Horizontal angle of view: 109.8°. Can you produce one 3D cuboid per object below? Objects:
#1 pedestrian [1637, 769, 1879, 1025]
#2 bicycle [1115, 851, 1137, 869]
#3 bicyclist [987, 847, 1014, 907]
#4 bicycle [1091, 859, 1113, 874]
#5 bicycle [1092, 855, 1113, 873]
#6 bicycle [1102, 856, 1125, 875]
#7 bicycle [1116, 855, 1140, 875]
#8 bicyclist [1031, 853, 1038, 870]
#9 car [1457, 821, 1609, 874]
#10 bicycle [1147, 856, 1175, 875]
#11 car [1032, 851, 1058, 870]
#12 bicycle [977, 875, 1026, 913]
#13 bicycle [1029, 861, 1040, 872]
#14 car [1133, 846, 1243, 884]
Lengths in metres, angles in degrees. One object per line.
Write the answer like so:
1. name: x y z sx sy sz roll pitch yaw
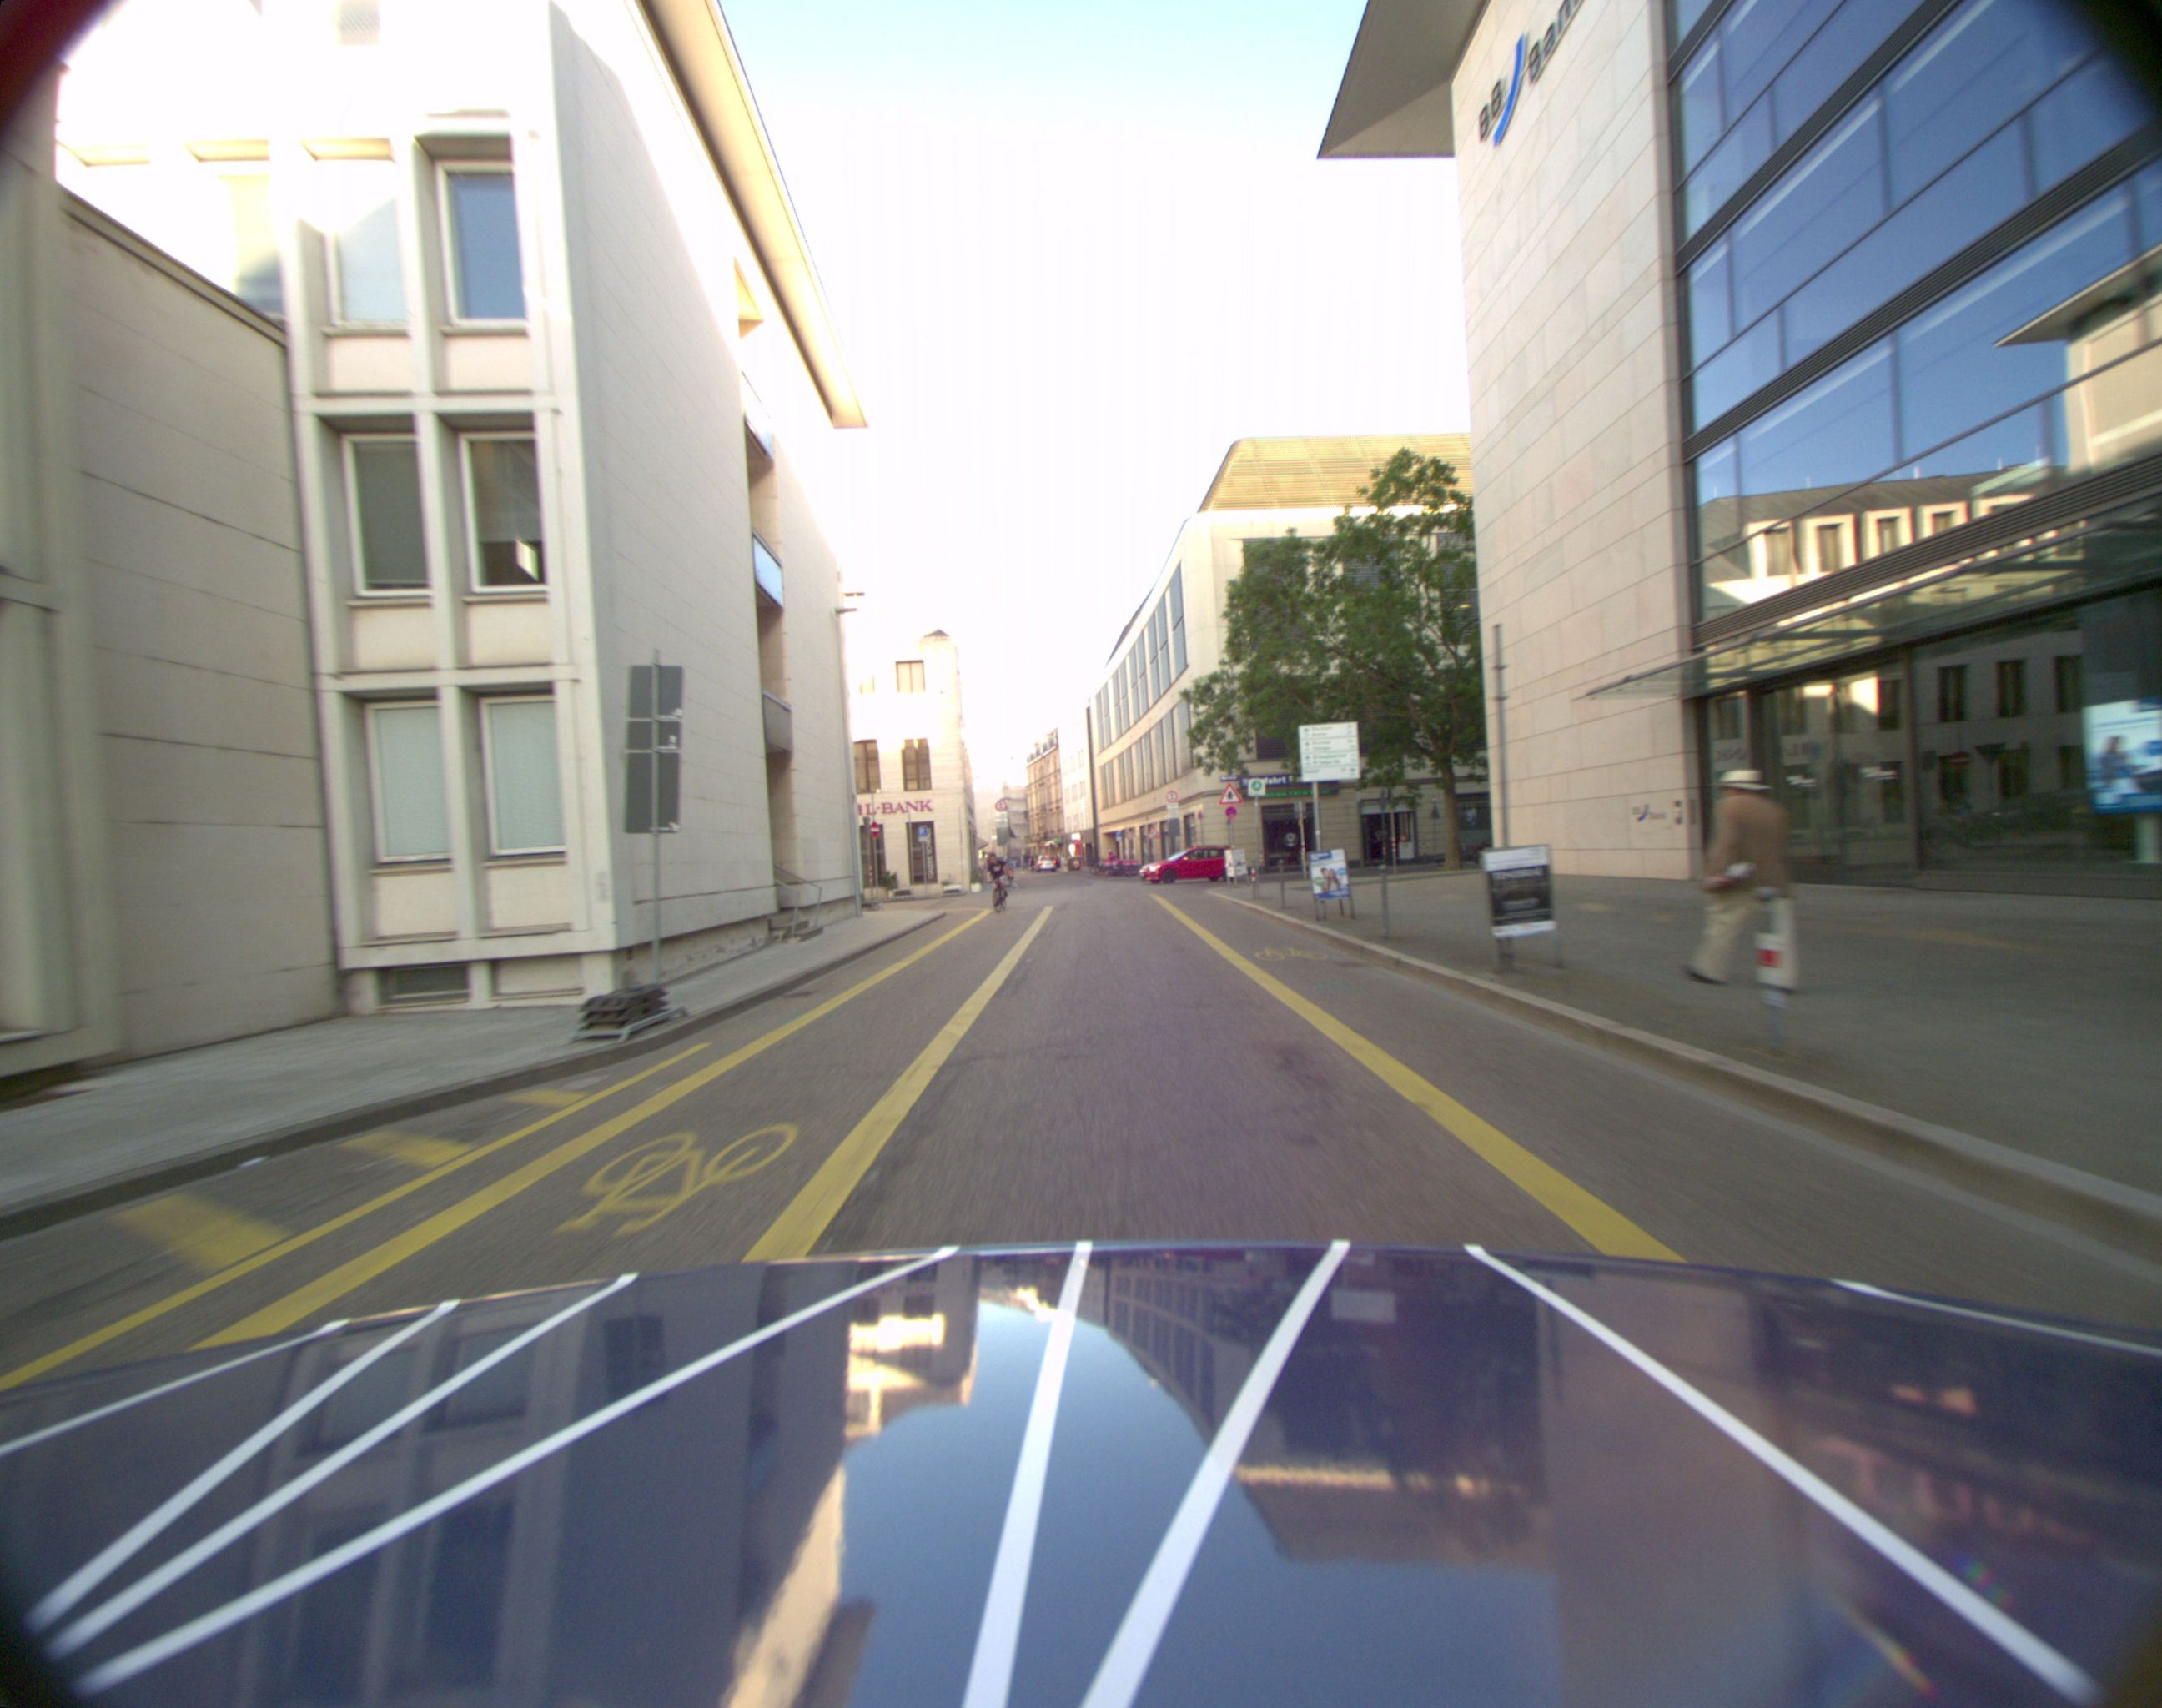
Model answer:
1. pedestrian: 5.325 0.310 6.070 0.843 1.790 1.073 -7 1 4
2. bicycle: 3.254 0.457 54.936 1.516 1.243 0.353 -2 2 13
3. bicyclist: -2.363 0.682 22.304 0.500 1.722 0.552 -2 2 26
4. bicycle: 1.496 0.901 54.922 1.518 0.947 0.353 -3 2 1
5. bicycle: 1.579 0.727 55.954 1.517 1.243 0.353 -3 2 4
6. bicycle: 2.280 0.830 52.802 1.516 1.243 0.353 -2 2 13
7. bicycle: 3.211 0.745 51.767 1.518 1.243 0.353 -3 2 0
8. bicyclist: -4.474 0.756 73.032 0.498 1.616 0.631 -3 2 -20
9. car: 15.971 -0.144 27.255 1.999 1.442 5.021 -3 -3 -6
10. bicycle: 4.718 0.696 44.895 1.516 1.027 0.353 -4 1 17
11. car: -3.618 0.607 75.970 2.177 1.652 3.997 -3 1 -7
12. bicycle: -2.318 1.170 22.403 0.510 0.968 1.823 -2 2 26
13. bicycle: -4.511 1.227 73.329 0.519 0.989 2.106 -3 1 -16
14. car: 4.564 0.447 32.497 4.264 1.456 1.826 -2 1 -12
